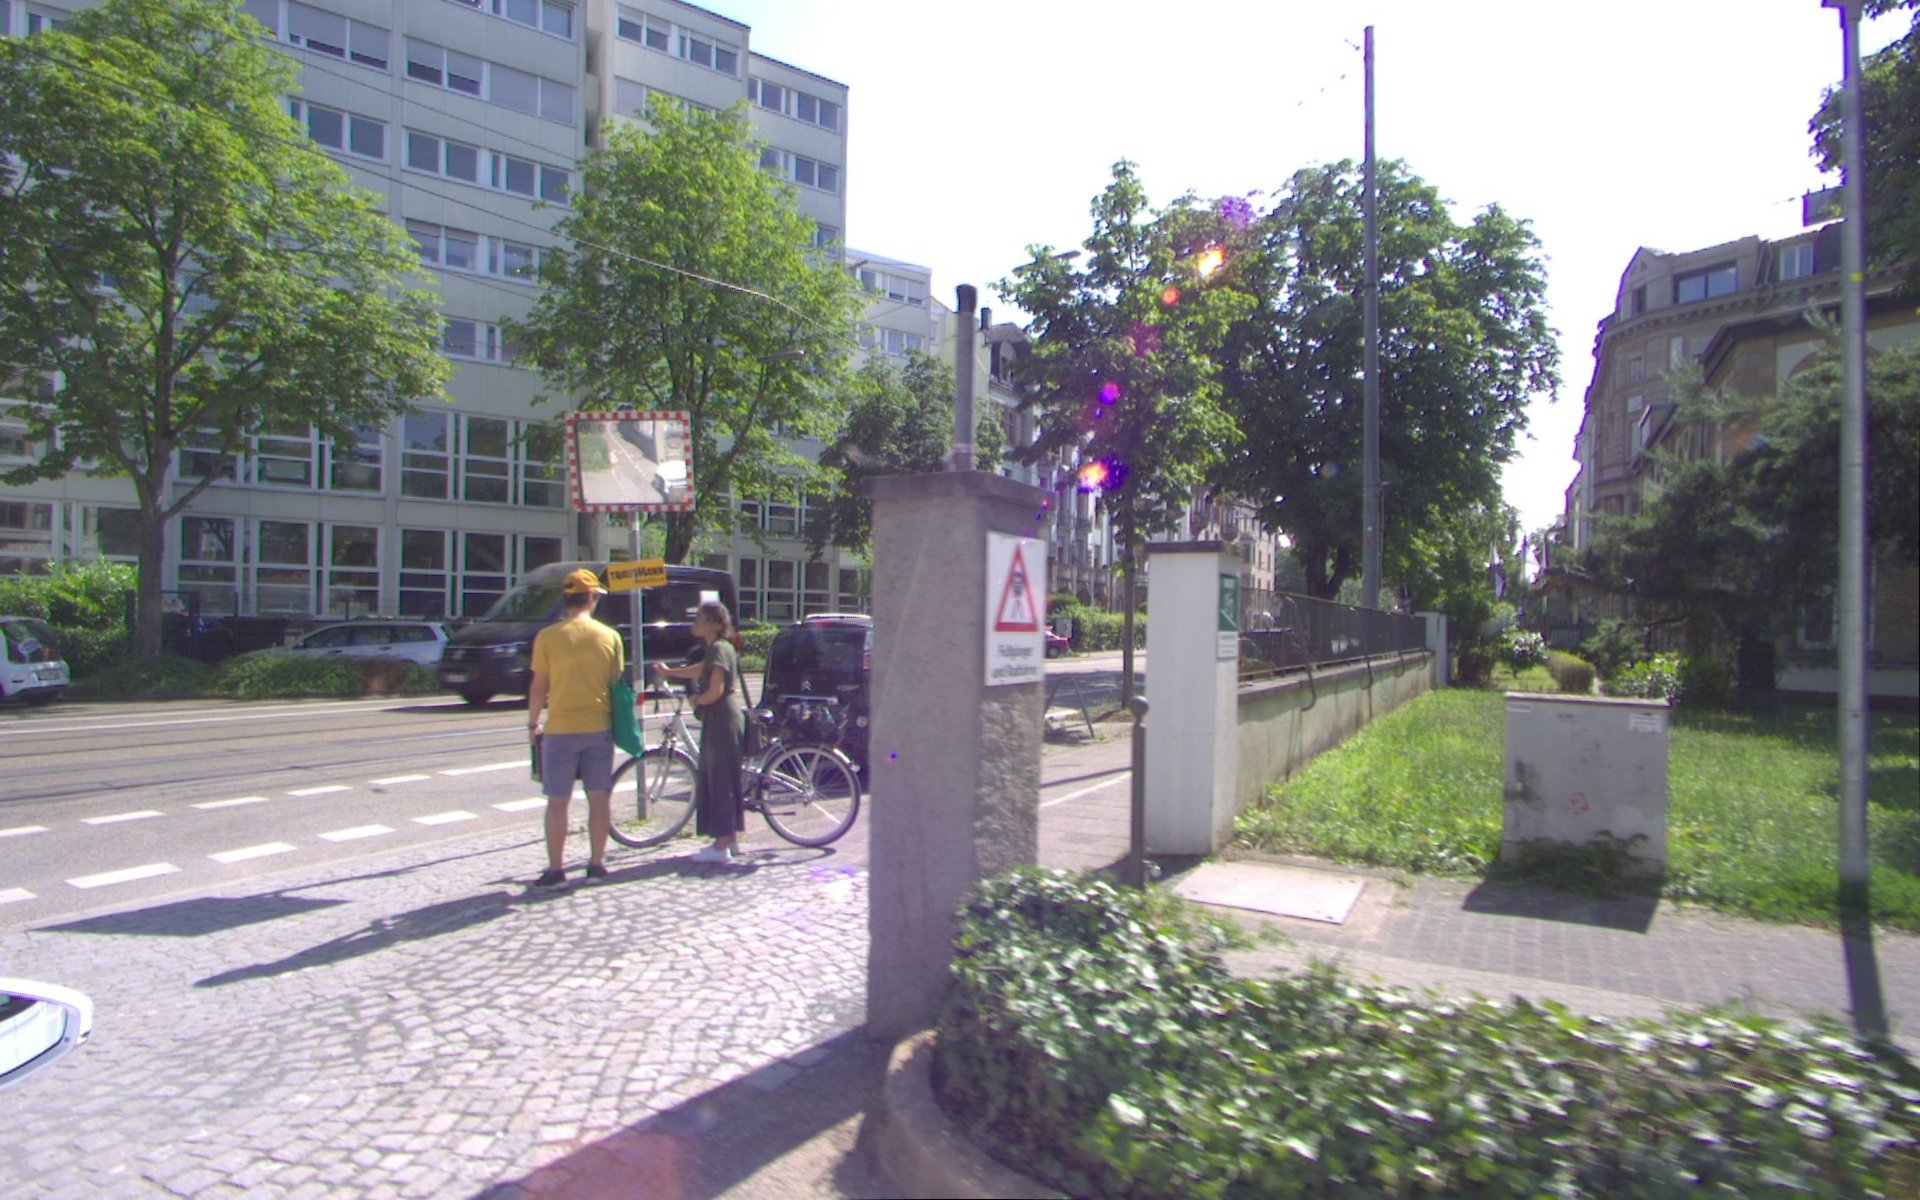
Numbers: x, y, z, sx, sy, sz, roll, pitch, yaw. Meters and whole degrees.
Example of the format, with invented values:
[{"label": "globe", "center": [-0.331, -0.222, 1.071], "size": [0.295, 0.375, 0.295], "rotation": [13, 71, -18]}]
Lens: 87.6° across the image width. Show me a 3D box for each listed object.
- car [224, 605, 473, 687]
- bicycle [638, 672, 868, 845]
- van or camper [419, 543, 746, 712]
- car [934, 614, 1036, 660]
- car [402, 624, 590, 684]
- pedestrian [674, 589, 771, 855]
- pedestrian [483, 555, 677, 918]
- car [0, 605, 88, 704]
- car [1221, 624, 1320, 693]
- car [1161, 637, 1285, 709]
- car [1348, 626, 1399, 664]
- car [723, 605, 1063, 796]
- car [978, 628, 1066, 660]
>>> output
[{"label": "car", "center": [-12.915, 0.976, 21.435], "size": [4.269, 1.625, 1.555], "rotation": [1, -1, -19]}, {"label": "bicycle", "center": [-1.392, 1.040, 6.752], "size": [1.484, 1.055, 0.363], "rotation": [1, 0, 12]}, {"label": "van or camper", "center": [-6.739, 0.501, 18.781], "size": [2.019, 2.653, 5.839], "rotation": [1, -1, 28]}, {"label": "car", "center": [1.060, 1.590, 43.262], "size": [3.935, 1.884, 1.994], "rotation": [1, -1, -23]}, {"label": "car", "center": [-11.083, 1.294, 24.184], "size": [3.875, 1.375, 1.556], "rotation": [1, -1, -16]}, {"label": "pedestrian", "center": [-1.526, 0.769, 6.466], "size": [0.445, 1.642, 0.422], "rotation": [-2, -2, 12]}, {"label": "pedestrian", "center": [-2.211, 0.723, 5.808], "size": [0.844, 1.889, 0.823], "rotation": [1, 0, -38]}, {"label": "car", "center": [-16.329, 0.837, 15.542], "size": [3.874, 1.505, 1.611], "rotation": [0, 0, -15]}, {"label": "car", "center": [8.506, 1.531, 27.231], "size": [1.828, 1.701, 3.985], "rotation": [0, -1, 28]}, {"label": "car", "center": [6.056, 1.579, 22.754], "size": [1.828, 1.430, 3.985], "rotation": [0, -1, 28]}, {"label": "car", "center": [19.615, 2.078, 47.382], "size": [1.828, 1.701, 3.985], "rotation": [0, -1, 28]}, {"label": "car", "center": [-0.532, 0.954, 11.136], "size": [1.830, 1.705, 3.981], "rotation": [0, -1, 31]}, {"label": "car", "center": [3.085, 2.204, 49.923], "size": [3.929, 1.527, 1.997], "rotation": [1, -1, -16]}]
